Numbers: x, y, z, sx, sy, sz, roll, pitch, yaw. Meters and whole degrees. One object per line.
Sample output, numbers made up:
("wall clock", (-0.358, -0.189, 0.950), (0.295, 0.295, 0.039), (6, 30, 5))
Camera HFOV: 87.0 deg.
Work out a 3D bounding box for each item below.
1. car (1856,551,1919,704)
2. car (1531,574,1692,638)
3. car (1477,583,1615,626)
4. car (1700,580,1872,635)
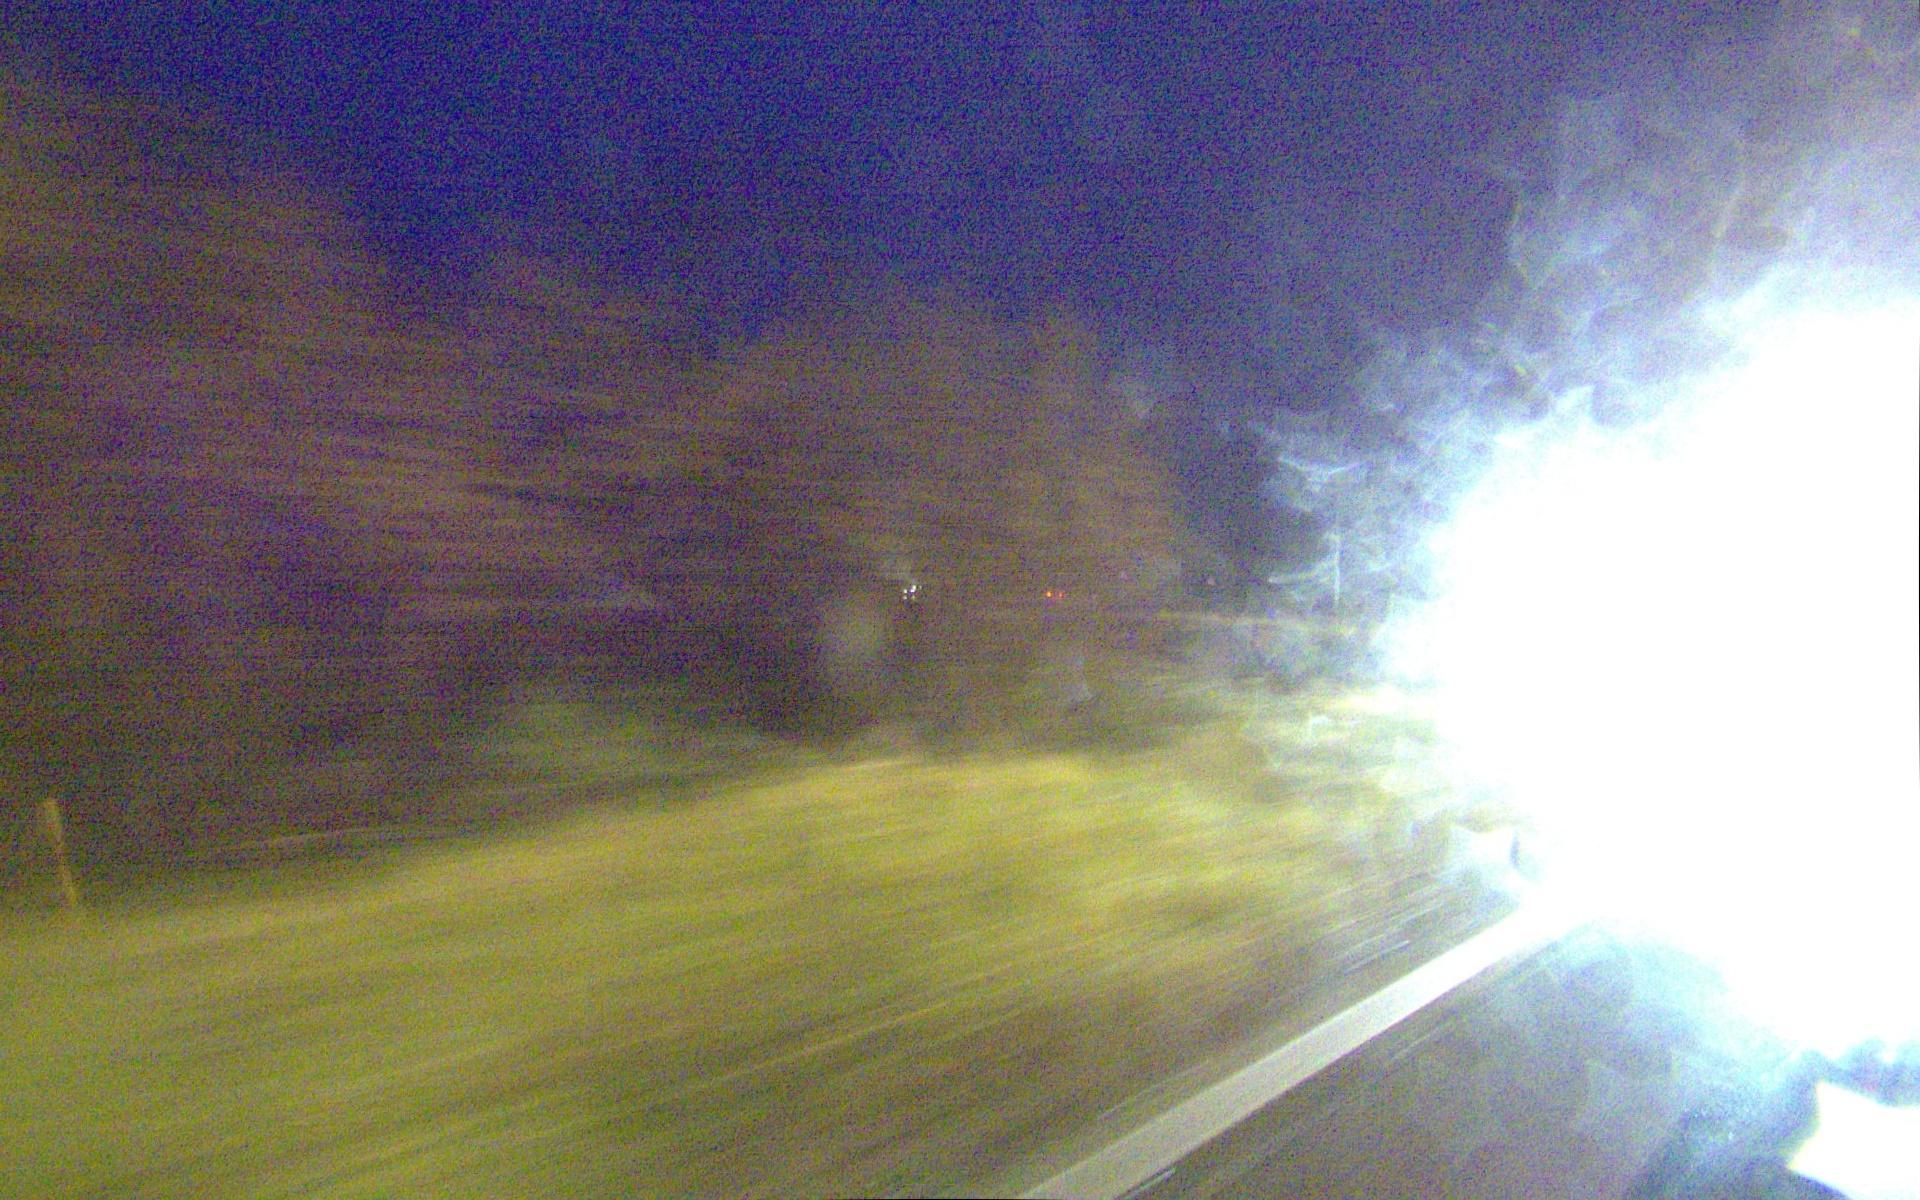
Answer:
("car", (14.193, 0.338, 14.061), (1.991, 1.949, 4.317), (1, 1, 34))
("car", (17.526, 0.127, 27.464), (1.656, 1.551, 3.988), (-3, 1, -1))
("car", (21.745, 0.136, 37.697), (1.647, 1.463, 4.180), (0, 1, -29))
("car", (27.711, 0.207, 34.086), (1.812, 1.727, 4.133), (0, 1, -31))
